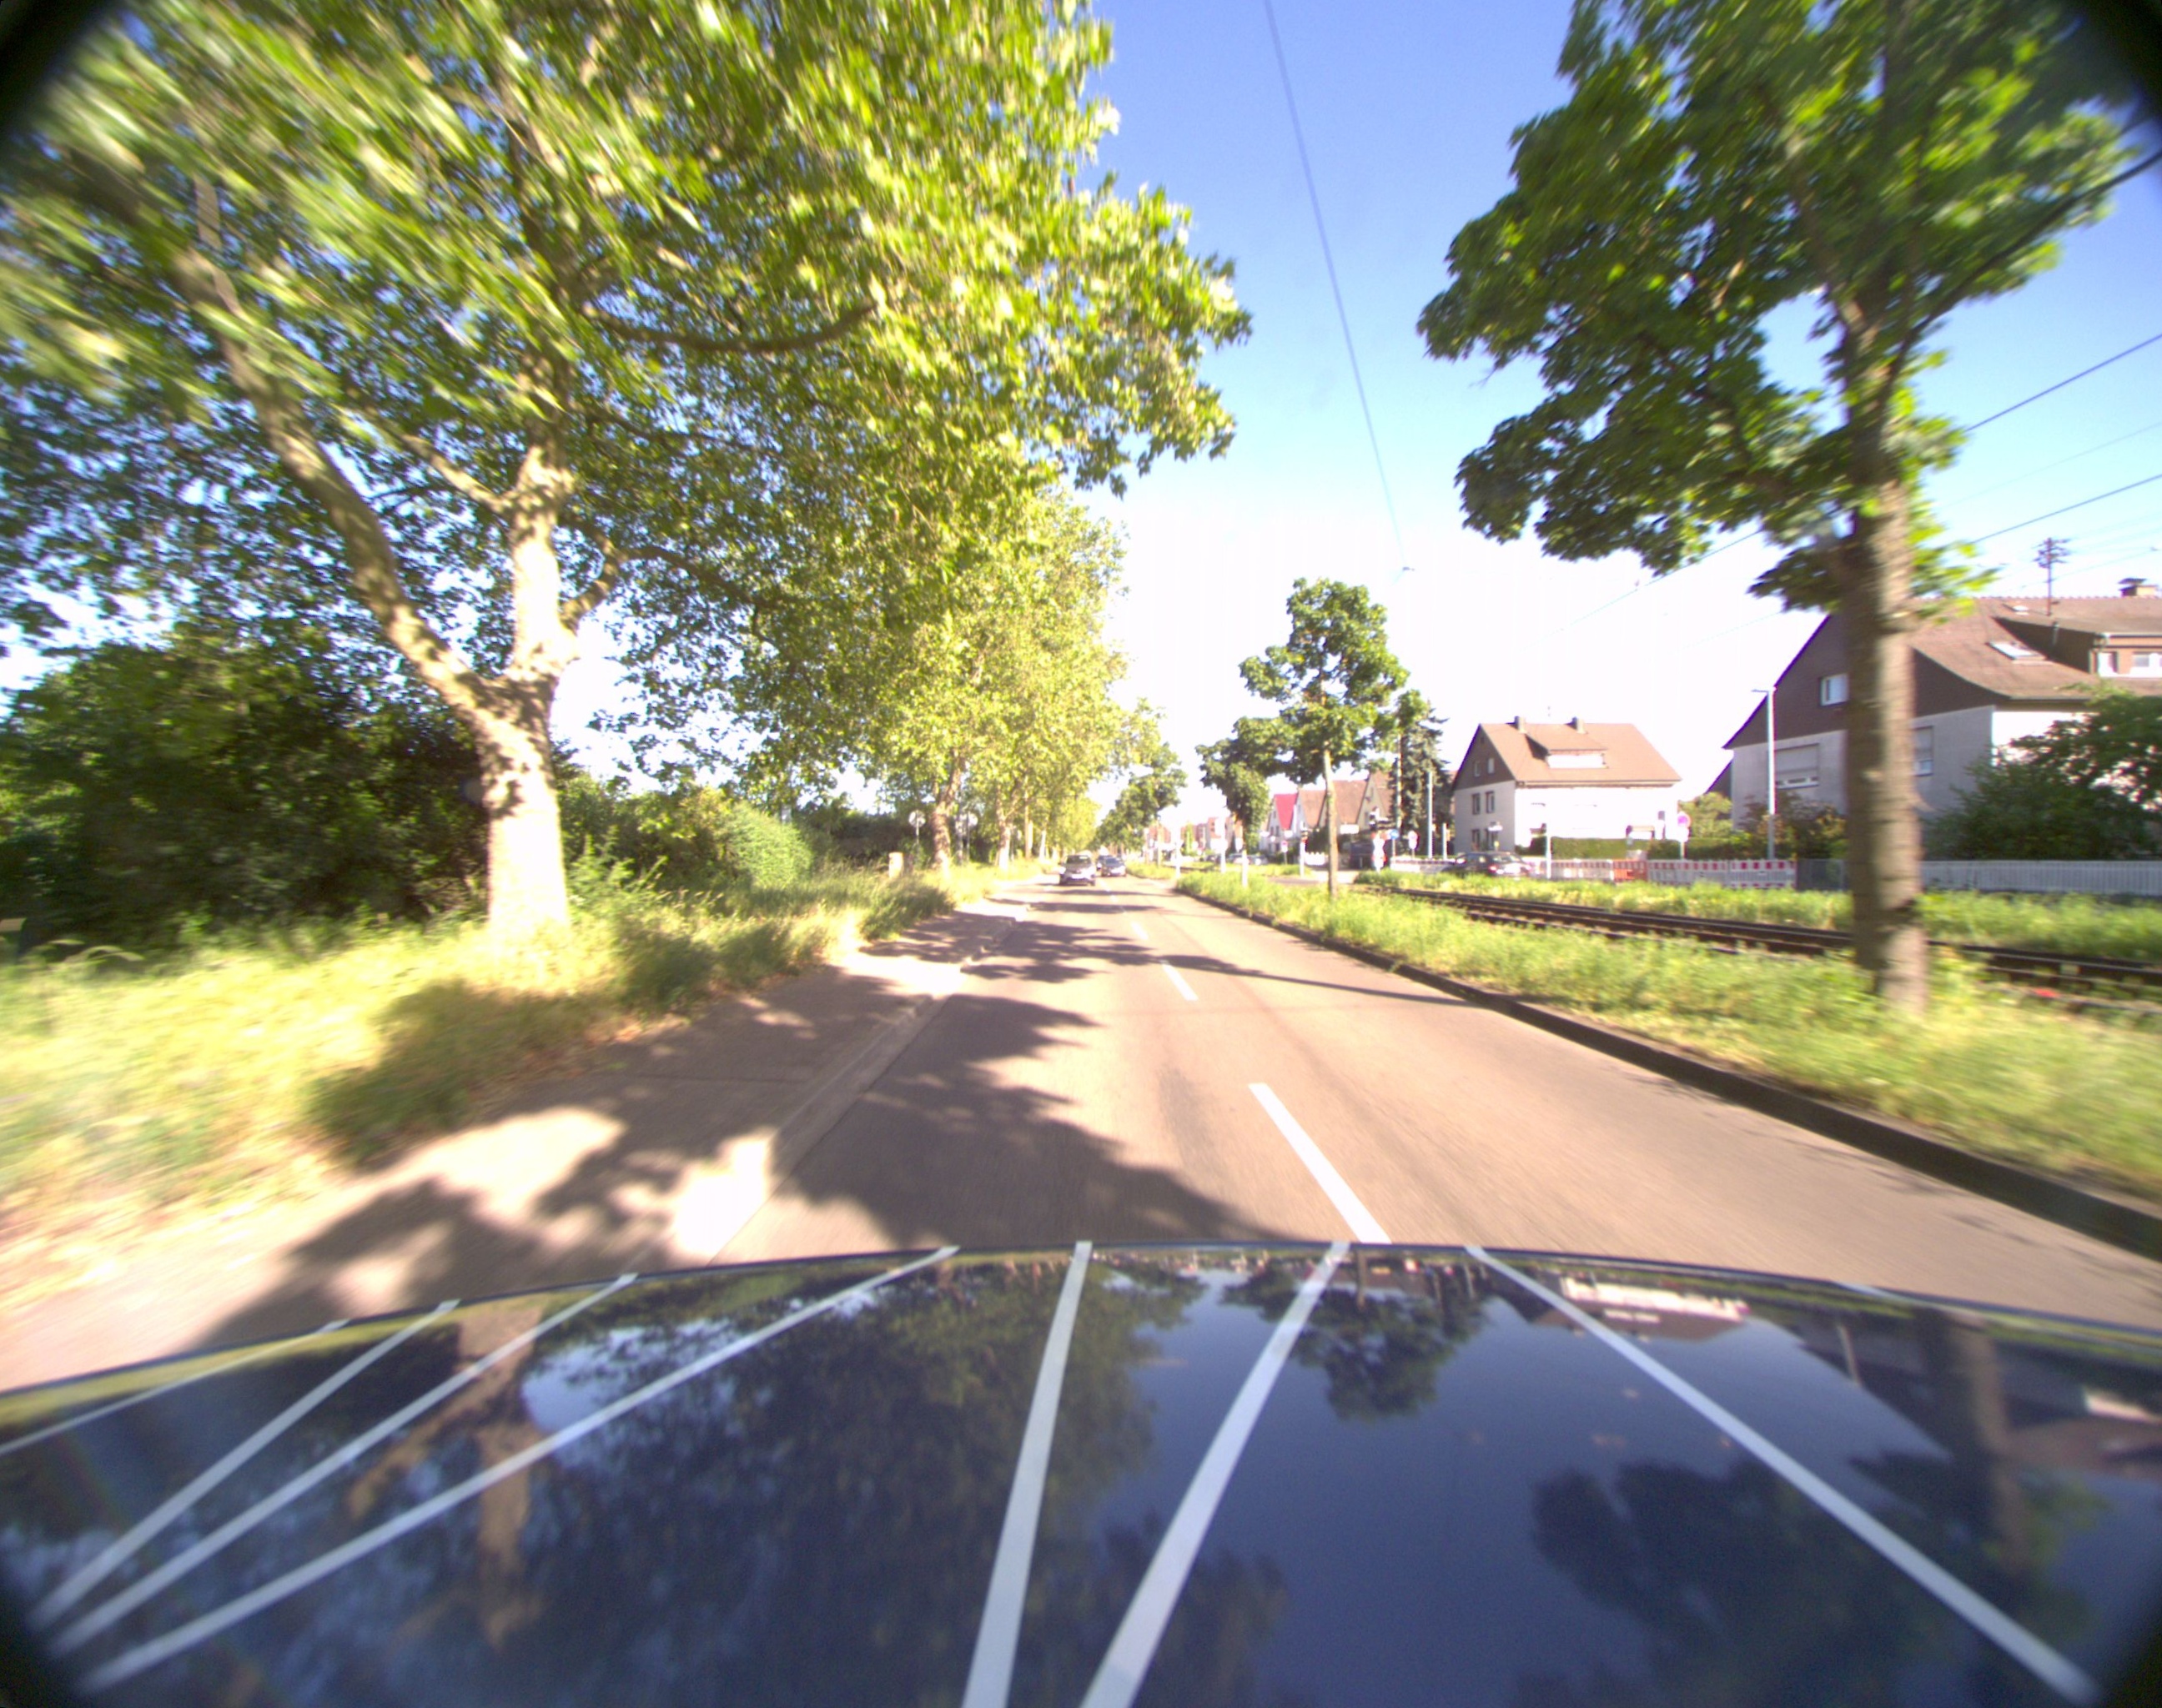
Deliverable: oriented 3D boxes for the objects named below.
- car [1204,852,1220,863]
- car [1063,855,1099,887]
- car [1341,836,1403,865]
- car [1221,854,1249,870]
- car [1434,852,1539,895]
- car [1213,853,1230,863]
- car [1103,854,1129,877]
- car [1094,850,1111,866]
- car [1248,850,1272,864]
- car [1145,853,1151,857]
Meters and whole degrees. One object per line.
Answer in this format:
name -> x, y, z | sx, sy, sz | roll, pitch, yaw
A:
car -> 22.180, 0.517, 128.794 | 1.998, 1.703, 4.390 | -2, 1, 0
car -> 0.002, 0.803, 38.365 | 1.692, 1.499, 3.582 | 1, 1, 0
car -> 27.288, -0.271, 71.429 | 5.041, 2.609, 2.102 | -1, 0, 0
car -> 16.486, 0.813, 81.405 | 1.998, 1.594, 4.473 | -2, 0, 0
car -> 16.343, 0.732, 30.930 | 1.665, 1.543, 4.810 | -2, 0, 0
car -> 22.162, 0.569, 120.192 | 1.931, 1.486, 4.255 | -2, 0, 0
car -> 2.532, 0.816, 55.500 | 1.692, 1.499, 3.582 | -2, 1, 0
car -> 2.234, 0.397, 78.988 | 1.692, 1.499, 3.582 | -2, 1, 0
car -> 21.721, 0.384, 92.374 | 1.951, 1.544, 4.056 | -2, 0, 0
car -> 22.641, 0.346, 257.353 | 1.738, 1.481, 3.755 | -2, 1, 0
